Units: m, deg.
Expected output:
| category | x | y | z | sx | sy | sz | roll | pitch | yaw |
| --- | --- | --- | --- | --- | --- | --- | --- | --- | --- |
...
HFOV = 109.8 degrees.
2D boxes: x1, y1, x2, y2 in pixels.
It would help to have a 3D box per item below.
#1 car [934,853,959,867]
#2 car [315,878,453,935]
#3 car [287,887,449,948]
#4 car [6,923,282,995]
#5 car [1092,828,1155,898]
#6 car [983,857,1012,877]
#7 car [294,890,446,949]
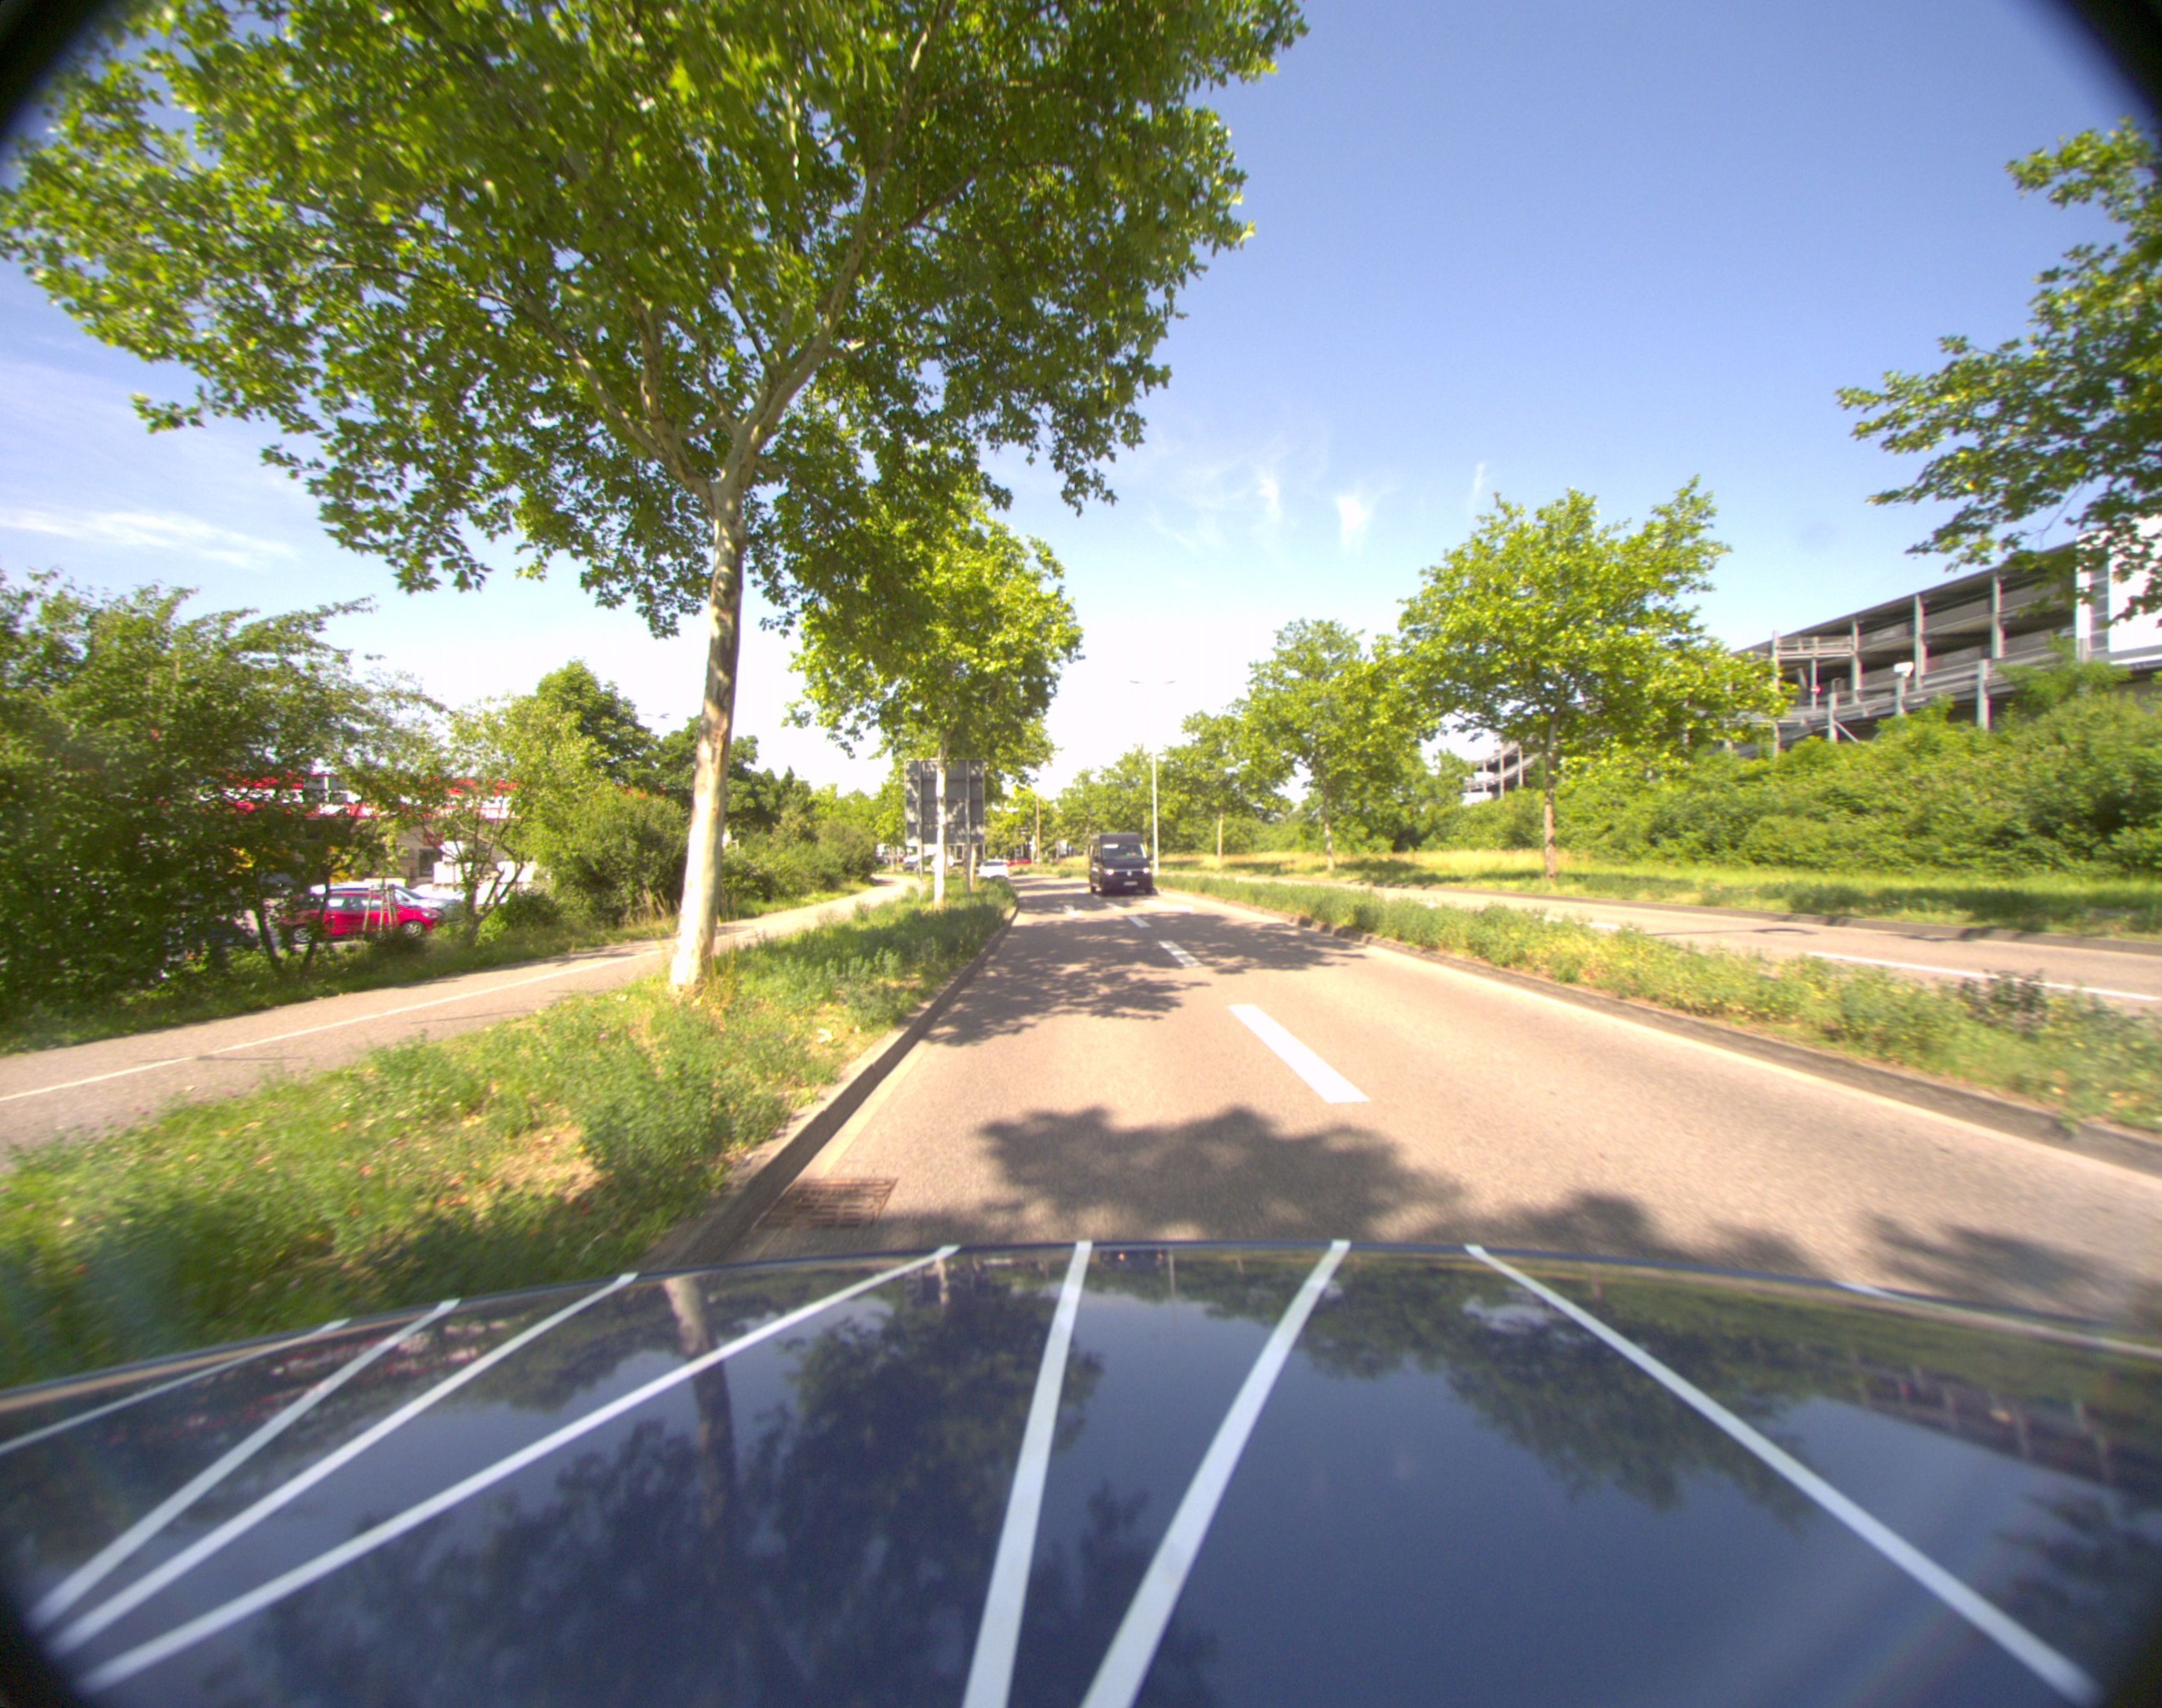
| category | x | y | z | sx | sy | sz | roll | pitch | yaw |
| --- | --- | --- | --- | --- | --- | --- | --- | --- | --- |
| car | -20.896 | 0.961 | 117.948 | 2.003 | 2.002 | 4.505 | -2 | 1 | -34 |
| car | -23.862 | 1.758 | 26.169 | 3.243 | 1.602 | 1.534 | -3 | 3 | -34 |
| car | -22.509 | 1.954 | 24.178 | 3.494 | 1.518 | 1.597 | -3 | 3 | -34 |
| car | -19.485 | 2.159 | 15.937 | 3.590 | 1.216 | 1.741 | -1 | 1 | 0 |
| car | 1.656 | 0.305 | 31.962 | 2.021 | 2.592 | 6.166 | -2 | 1 | -2 |
| car | -7.071 | 1.076 | 63.943 | 1.826 | 1.512 | 4.202 | -2 | 1 | -15 |
| car | -22.509 | 2.018 | 24.215 | 3.284 | 1.652 | 1.601 | 0 | -1 | -33 |
